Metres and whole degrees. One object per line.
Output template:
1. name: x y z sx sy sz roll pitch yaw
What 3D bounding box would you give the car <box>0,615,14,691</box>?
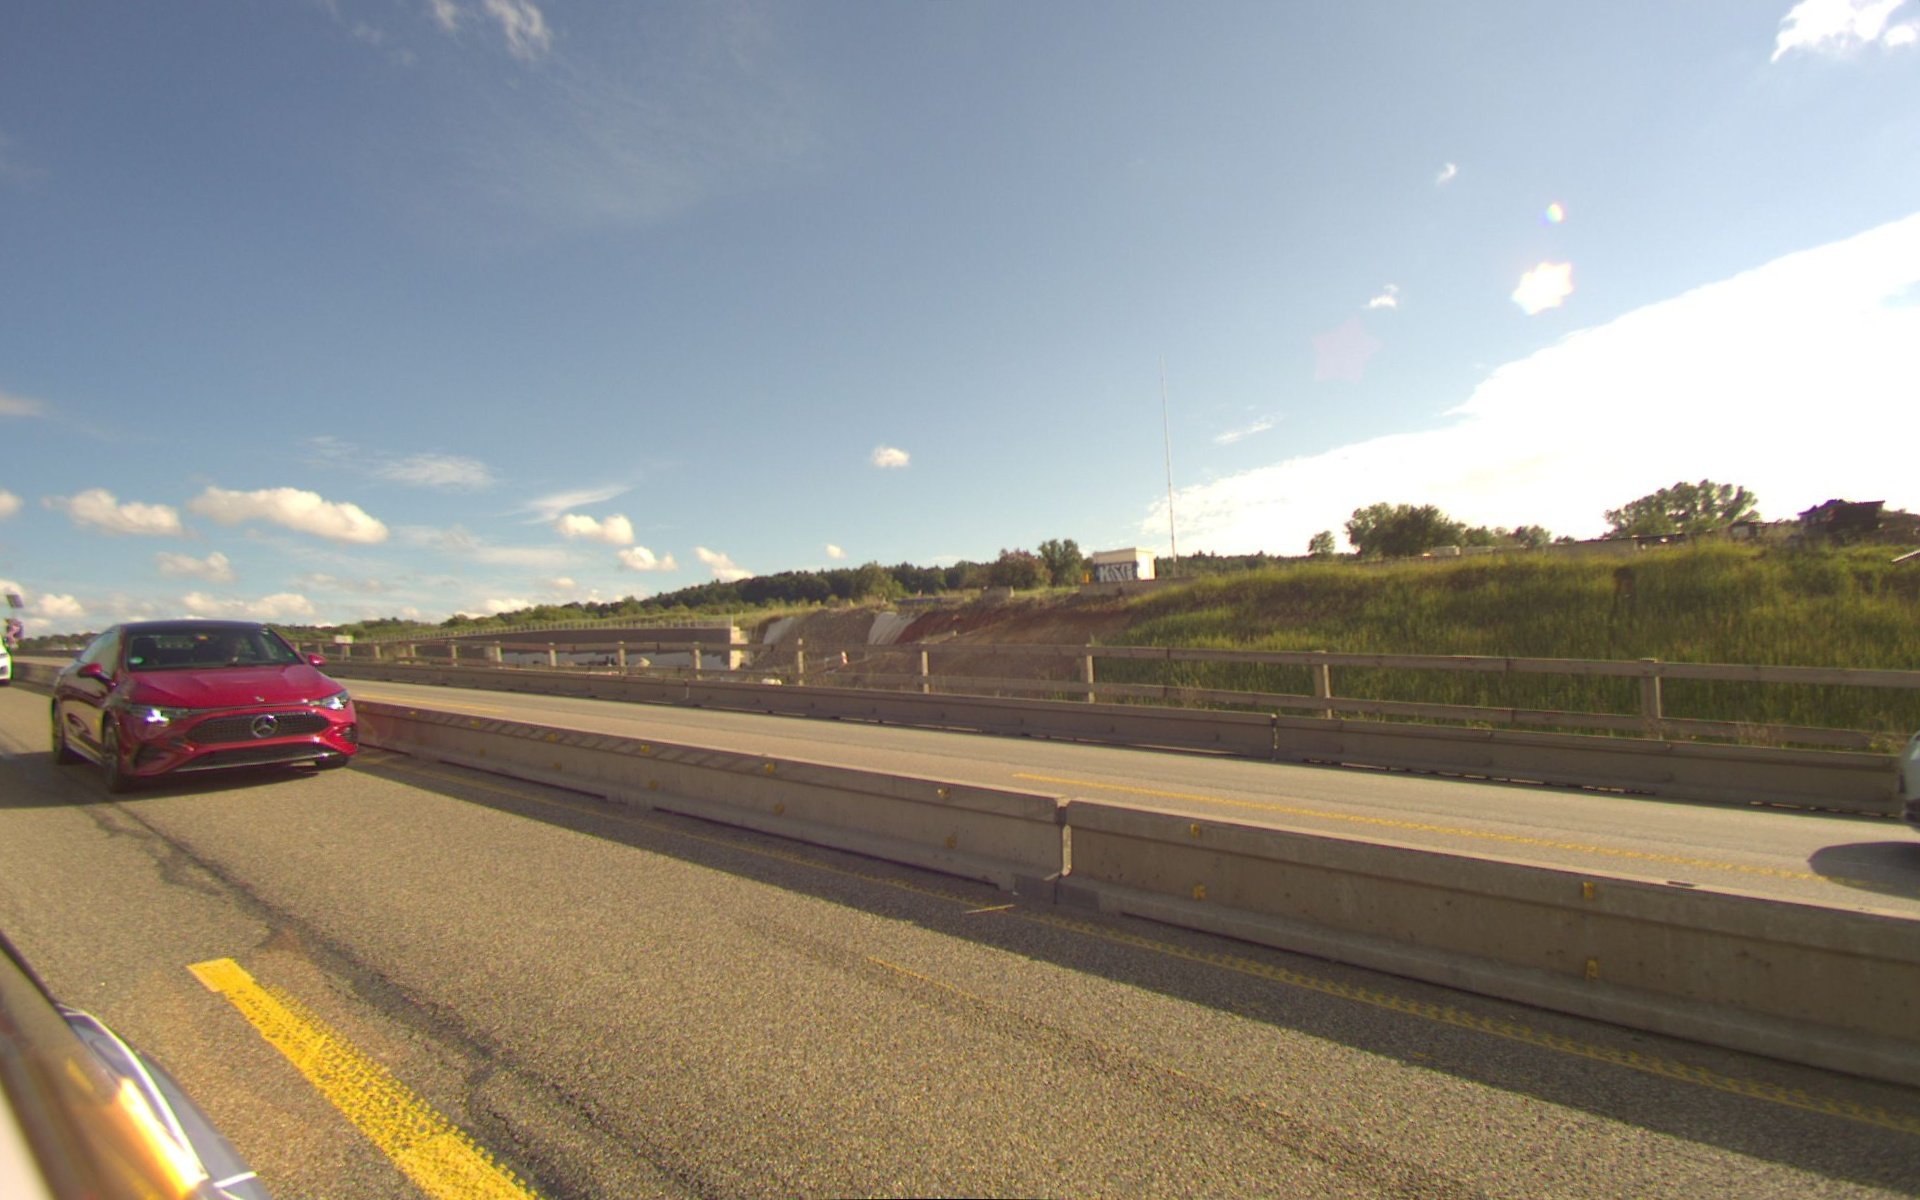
1. car: -25.320 1.346 25.427 4.453 1.837 1.804 -2 0 41

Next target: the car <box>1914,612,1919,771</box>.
1. car: 7.716 0.761 5.024 4.216 1.503 1.804 -2 -4 41

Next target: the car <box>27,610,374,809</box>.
1. car: -7.717 0.914 10.086 4.681 1.503 1.804 -2 0 41
